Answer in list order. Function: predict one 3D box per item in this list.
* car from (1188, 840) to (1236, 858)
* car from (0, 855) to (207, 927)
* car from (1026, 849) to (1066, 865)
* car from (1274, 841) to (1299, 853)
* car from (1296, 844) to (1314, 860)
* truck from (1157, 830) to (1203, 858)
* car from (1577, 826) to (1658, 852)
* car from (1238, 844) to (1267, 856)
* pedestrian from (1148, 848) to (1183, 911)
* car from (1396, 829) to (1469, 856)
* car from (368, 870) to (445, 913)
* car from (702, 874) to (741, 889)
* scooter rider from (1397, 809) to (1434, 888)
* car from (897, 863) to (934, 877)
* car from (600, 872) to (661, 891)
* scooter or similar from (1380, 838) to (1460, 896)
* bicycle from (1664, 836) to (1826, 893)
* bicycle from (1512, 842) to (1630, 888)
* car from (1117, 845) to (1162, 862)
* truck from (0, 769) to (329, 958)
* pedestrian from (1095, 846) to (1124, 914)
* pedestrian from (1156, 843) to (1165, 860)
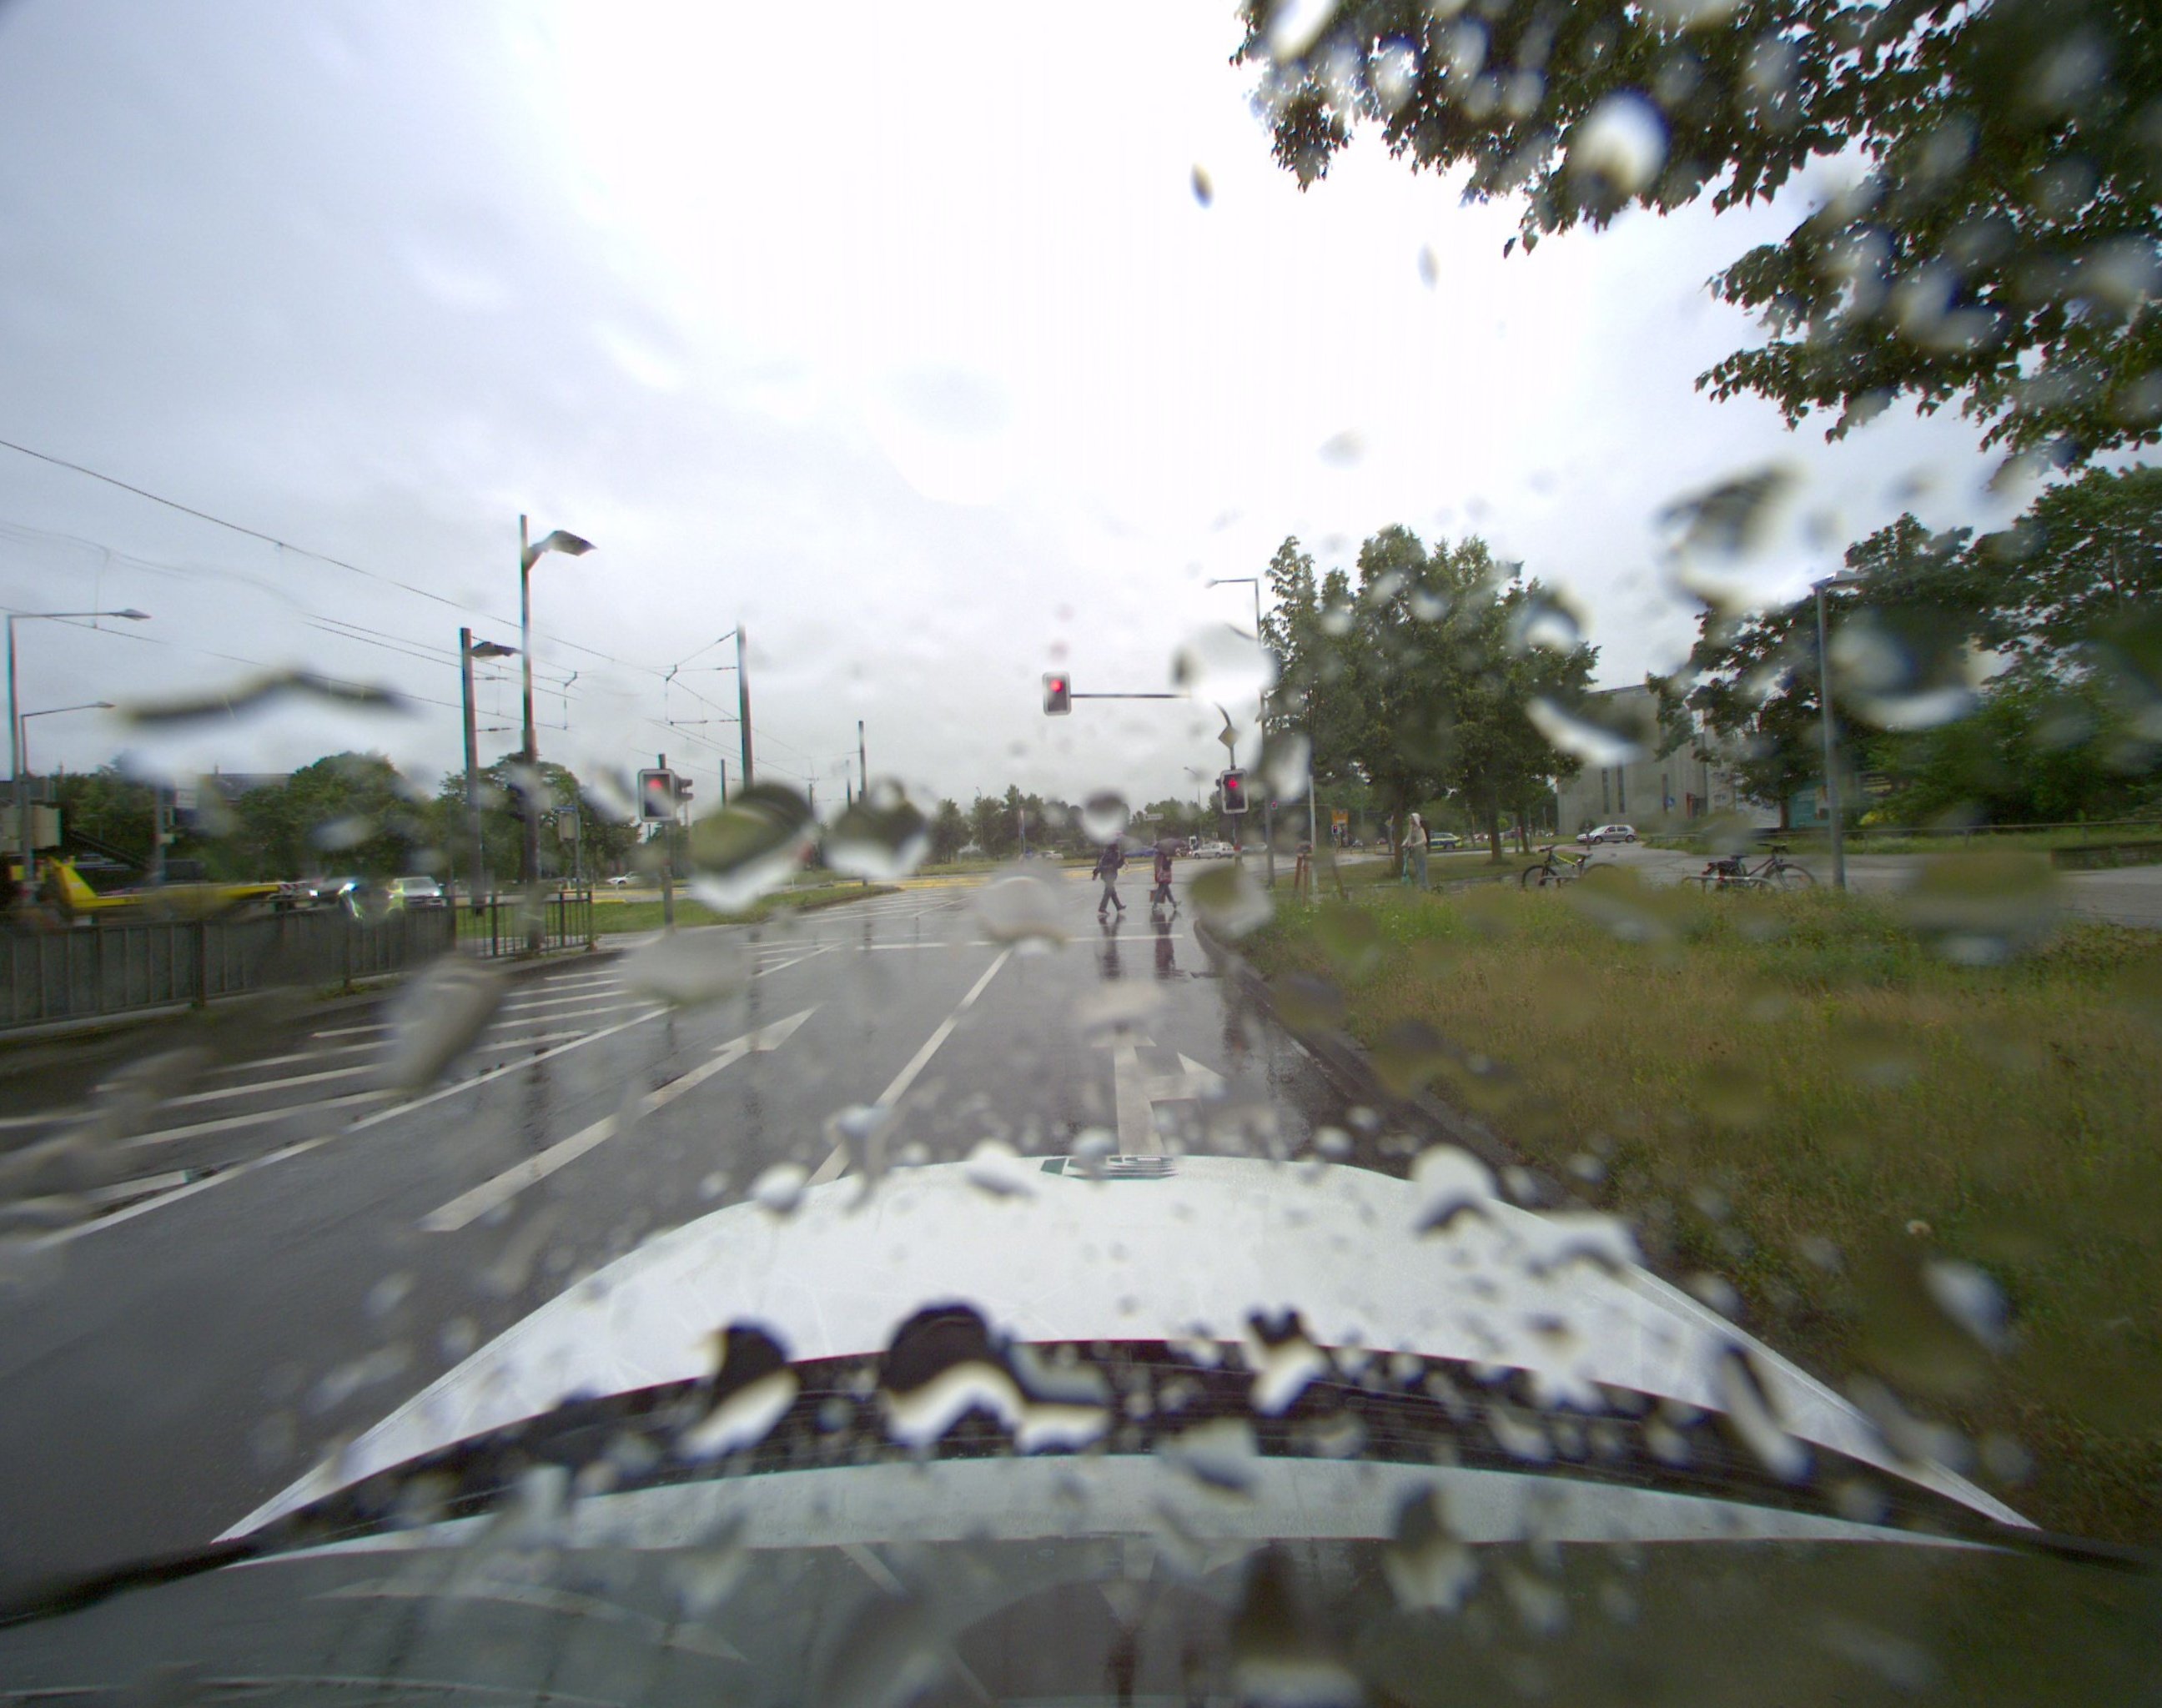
[{"bbox_3d":[11.490,-0.431,71.456,3.937,1.454,1.633,-2,0,45],"label":"car"},{"bbox_3d":[-60.924,2.222,49.034,11.026,3.720,2.427,-3,0,-44],"label":"car"},{"bbox_3d":[-3.743,0.331,87.556,4.059,1.454,1.634,-2,0,34],"label":"car"},{"bbox_3d":[31.094,-1.113,123.329,1.779,1.662,4.437,-2,0,42],"label":"car"},{"bbox_3d":[22.277,-0.196,81.142,1.606,1.454,4.003,-2,0,14],"label":"car"},{"bbox_3d":[10.310,-0.956,84.085,2.439,2.686,8.105,-1,-1,25],"label":"truck"},{"bbox_3d":[40.713,-1.139,61.896,4.739,1.851,2.002,0,-1,3],"label":"car"},{"bbox_3d":[23.046,-0.527,109.099,1.779,1.662,4.436,-1,-1,42],"label":"car"},{"bbox_3d":[2.016,0.602,19.441,0.678,1.461,0.573,-3,-1,-3],"label":"pedestrian"},{"bbox_3d":[26.787,-0.861,62.192,4.734,1.851,2.005,-2,0,8],"label":"car"},{"bbox_3d":[-28.625,1.566,34.521,4.348,1.627,2.012,-2,0,44],"label":"car"},{"bbox_3d":[-38.582,2.896,87.372,3.503,1.543,1.602,0,-1,-45],"label":"car"},{"bbox_3d":[7.408,-0.122,18.051,0.530,1.709,0.433,-3,0,-5],"label":"scooter rider"},{"bbox_3d":[-19.190,1.844,94.498,3.966,1.454,1.621,-2,0,-4],"label":"car"},{"bbox_3d":[-40.994,2.506,74.212,1.602,1.454,4.653,-2,0,34],"label":"car"},{"bbox_3d":[7.502,0.290,18.038,1.580,1.259,0.447,0,-1,0],"label":"scooter or similar"},{"bbox_3d":[9.887,0.158,12.235,0.453,0.787,1.998,0,-1,-15],"label":"bicycle"},{"bbox_3d":[8.815,0.194,14.732,0.382,0.787,1.840,0,-1,-32],"label":"bicycle"},{"bbox_3d":[5.560,-0.019,77.279,3.936,1.454,1.634,-2,0,38],"label":"car"},{"bbox_3d":[-23.020,0.225,18.946,2.680,3.778,9.175,0,-1,-2],"label":"truck"},{"bbox_3d":[0.646,0.578,18.558,0.619,1.522,0.741,-1,0,0],"label":"pedestrian"},{"bbox_3d":[6.315,-0.197,64.941,0.448,1.304,0.489,-2,0,40],"label":"pedestrian"}]
